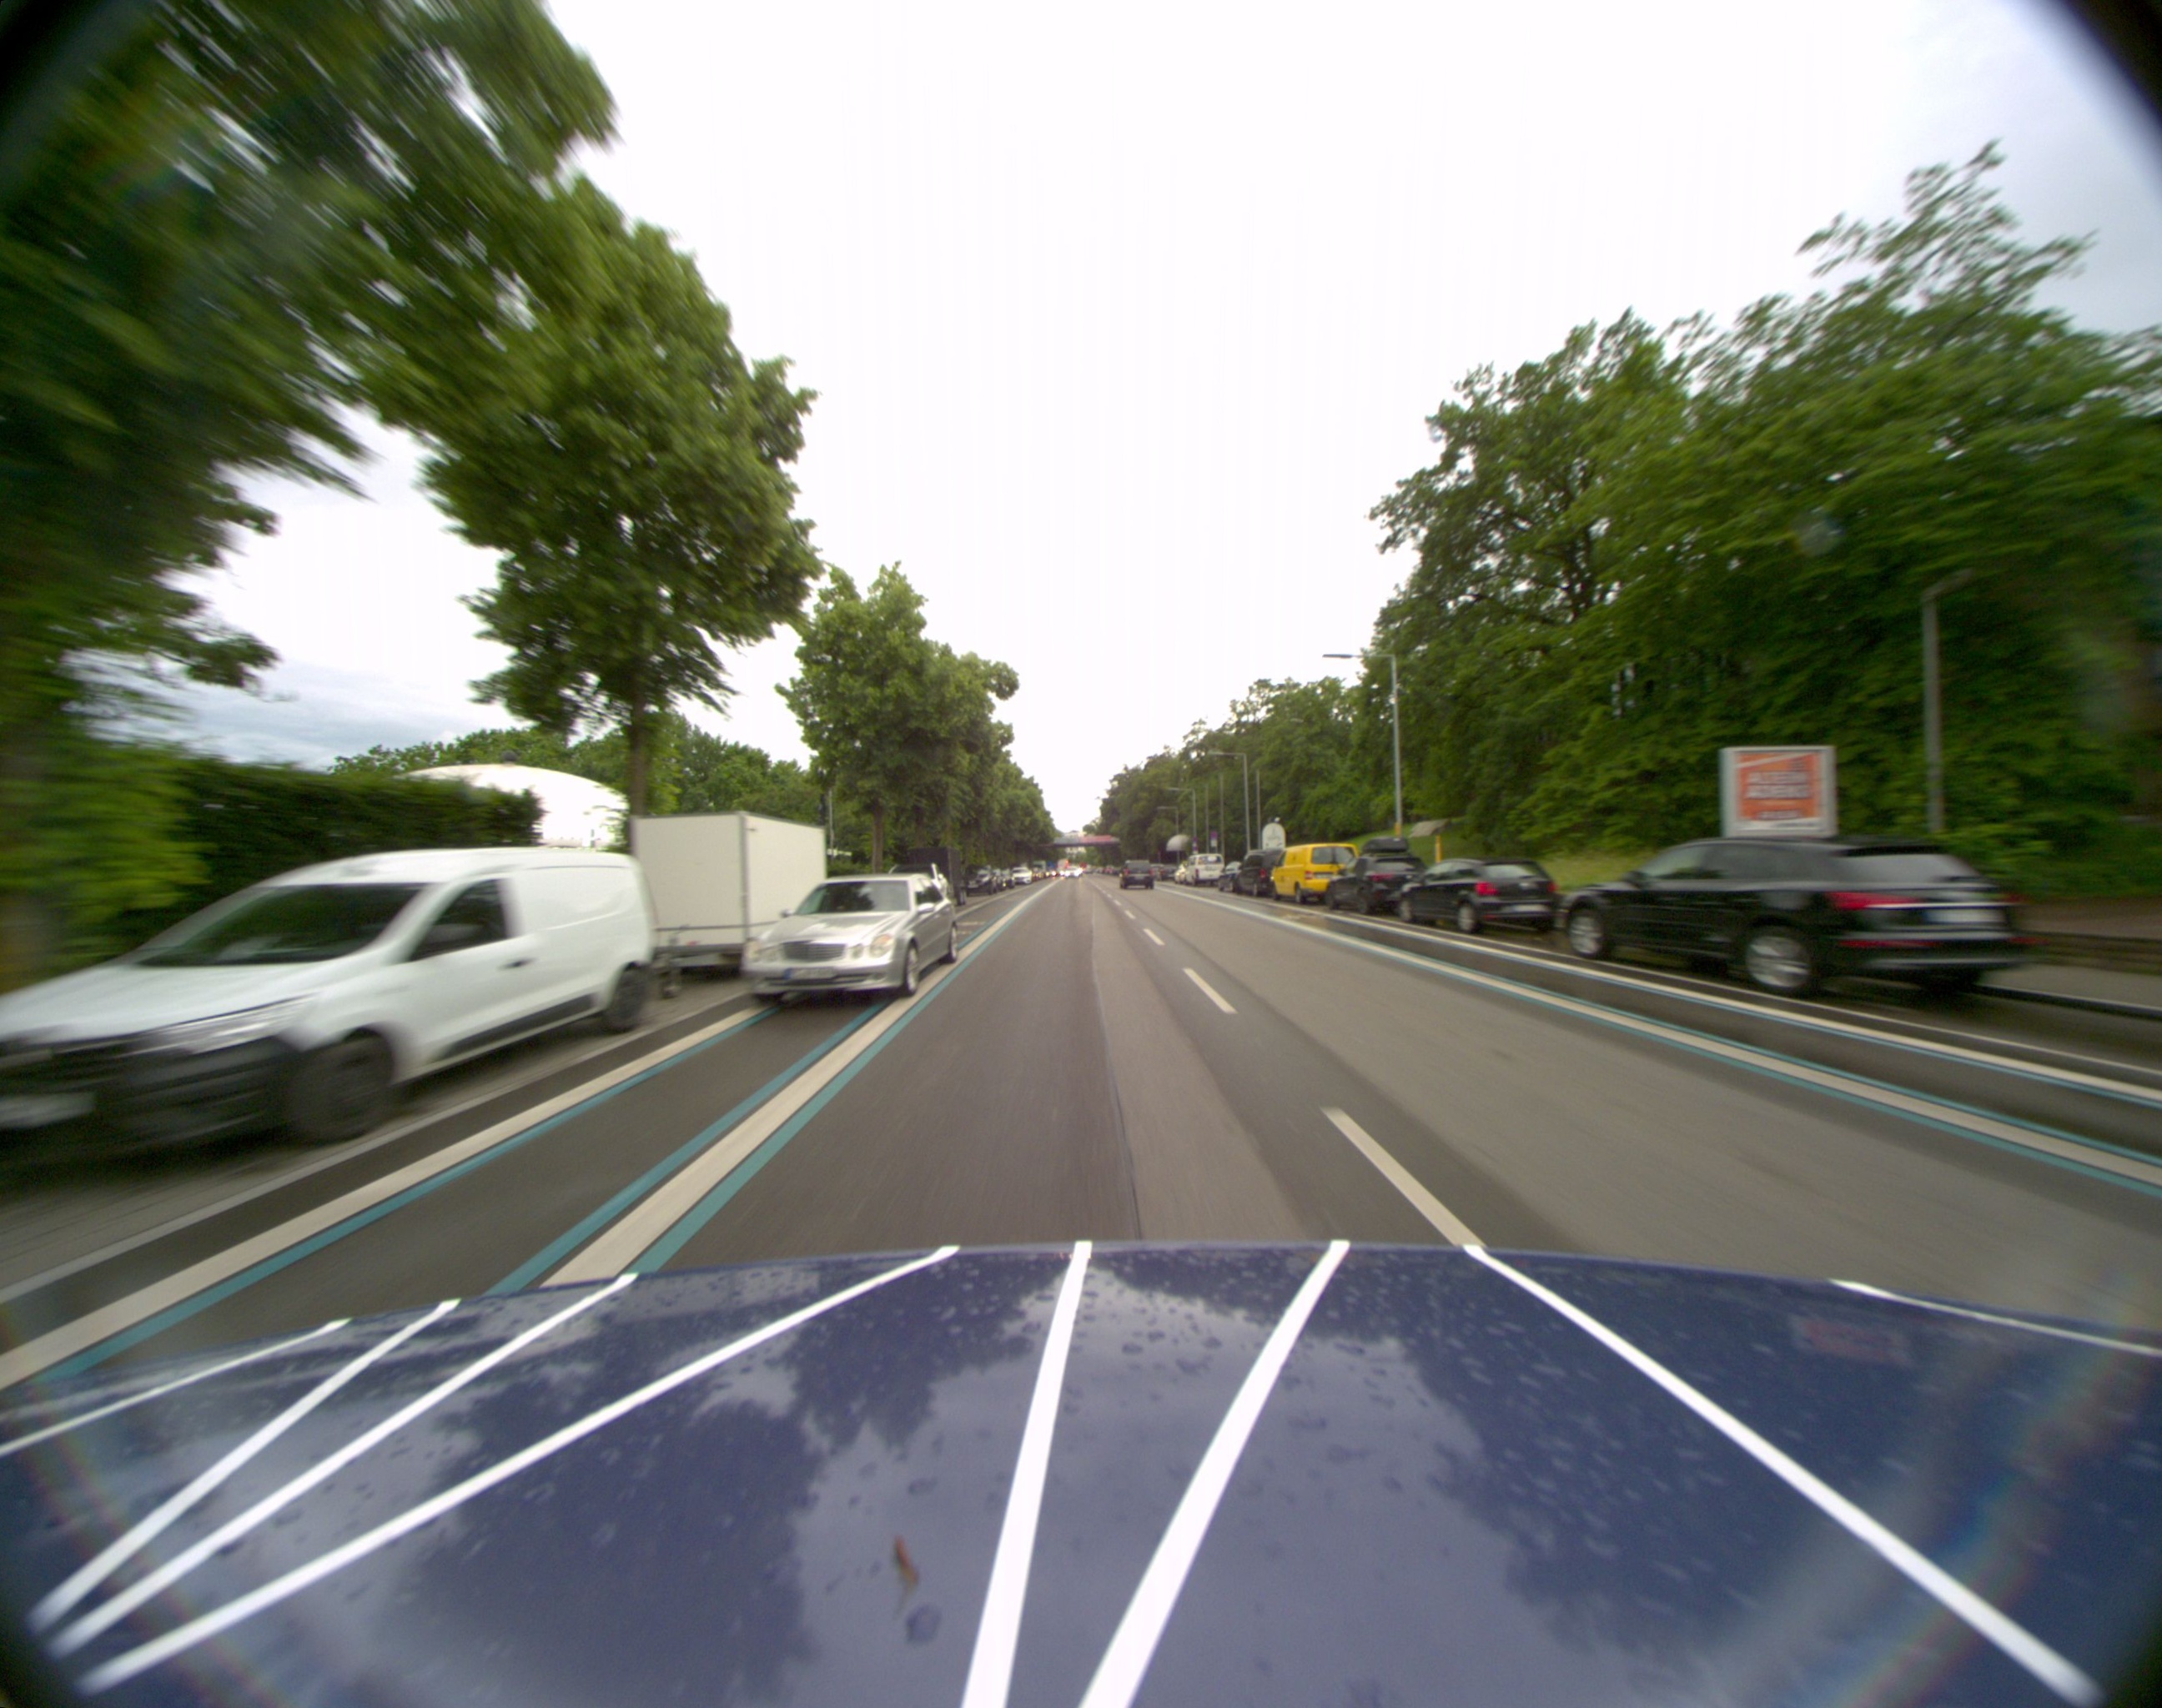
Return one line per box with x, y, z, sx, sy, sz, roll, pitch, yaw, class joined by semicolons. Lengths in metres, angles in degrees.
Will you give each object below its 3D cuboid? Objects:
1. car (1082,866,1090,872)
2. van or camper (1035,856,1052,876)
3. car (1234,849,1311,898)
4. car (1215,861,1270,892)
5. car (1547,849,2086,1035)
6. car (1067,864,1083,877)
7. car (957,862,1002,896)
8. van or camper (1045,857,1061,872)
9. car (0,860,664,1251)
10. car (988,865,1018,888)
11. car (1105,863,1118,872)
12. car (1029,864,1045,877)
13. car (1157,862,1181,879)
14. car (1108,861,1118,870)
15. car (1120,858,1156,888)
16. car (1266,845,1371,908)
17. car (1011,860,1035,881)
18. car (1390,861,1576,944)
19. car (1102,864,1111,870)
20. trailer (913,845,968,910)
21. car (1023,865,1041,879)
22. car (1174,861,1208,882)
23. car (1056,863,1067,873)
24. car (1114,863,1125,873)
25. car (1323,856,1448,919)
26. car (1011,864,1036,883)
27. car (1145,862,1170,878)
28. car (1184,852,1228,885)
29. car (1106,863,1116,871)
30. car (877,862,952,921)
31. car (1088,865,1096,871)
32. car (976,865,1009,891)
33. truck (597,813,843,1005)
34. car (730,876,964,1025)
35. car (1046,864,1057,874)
1.375;4.235;210.927;1.823;1.586;3.743;-1;-2;-2;car
-5.417;1.704;110.343;2.129;2.694;6.847;-3;0;0;van or camper
7.947;0.781;32.091;1.881;1.909;5.204;0;-1;-1;car
7.958;1.061;37.836;1.688;1.450;4.611;0;-1;-2;car
7.881;0.797;8.993;1.829;1.606;4.663;-1;-1;-1;car
-0.757;2.103;95.914;1.828;1.453;3.881;-3;0;0;car
-5.253;1.274;39.938;1.694;1.562;4.339;-4;0;0;car
-5.229;1.898;141.270;2.642;2.618;5.742;-2;0;0;van or camper
-5.223;0.978;5.713;1.726;1.780;4.345;-2;0;0;car
-5.254;1.514;51.701;1.690;1.374;4.083;-3;0;-1;car
6.033;2.702;150.697;1.824;1.732;3.740;0;-2;-12;car
-5.184;1.930;89.527;1.581;1.381;4.188;-3;0;0;car
7.663;1.424;66.279;1.680;1.363;3.586;-1;-1;0;car
7.421;2.699;176.324;1.823;1.940;3.743;-1;-2;-2;car
3.198;1.067;43.625;1.715;1.608;4.150;0;-1;-1;car
7.937;0.723;25.915;1.999;1.902;4.844;-1;-1;0;car
-5.374;1.516;71.302;1.847;1.865;4.616;-2;-1;0;car
7.940;0.877;15.462;1.612;1.437;4.038;-1;-1;0;car
6.500;3.247;191.574;1.870;1.280;3.999;-1;0;-3;car
-5.273;0.838;28.939;1.350;2.256;3.564;-3;0;0;trailer
-5.234;1.902;81.975;1.581;1.381;4.188;-3;0;0;car
7.796;1.234;54.100;1.731;1.439;4.595;-1;-1;0;car
-3.260;2.374;127.114;1.733;1.578;3.671;-3;0;0;car
7.114;2.619;140.230;1.823;1.732;3.743;-1;-2;-2;car
7.945;0.832;20.279;1.714;1.495;4.151;-1;-1;1;car
-4.953;1.640;65.754;1.824;1.477;4.292;-2;0;0;car
7.317;1.477;72.915;1.795;1.459;4.327;-1;-1;-2;car
7.823;0.902;48.089;1.877;1.965;4.735;-1;-1;-2;car
6.537;2.842;167.086;1.823;1.586;3.743;-1;-2;-2;car
-5.061;1.068;23.590;1.761;1.575;4.411;-2;0;-6;car
2.643;3.519;188.194;1.828;1.453;3.883;-3;-2;0;car
-5.279;1.399;45.682;1.694;1.417;3.999;-2;0;-3;car
-5.095;0.688;11.416;1.723;2.320;4.000;-2;0;0;truck
-2.777;1.062;10.177;1.726;1.390;4.590;-2;0;-1;car
-5.196;2.603;134.968;1.733;1.578;3.671;-3;0;0;car
